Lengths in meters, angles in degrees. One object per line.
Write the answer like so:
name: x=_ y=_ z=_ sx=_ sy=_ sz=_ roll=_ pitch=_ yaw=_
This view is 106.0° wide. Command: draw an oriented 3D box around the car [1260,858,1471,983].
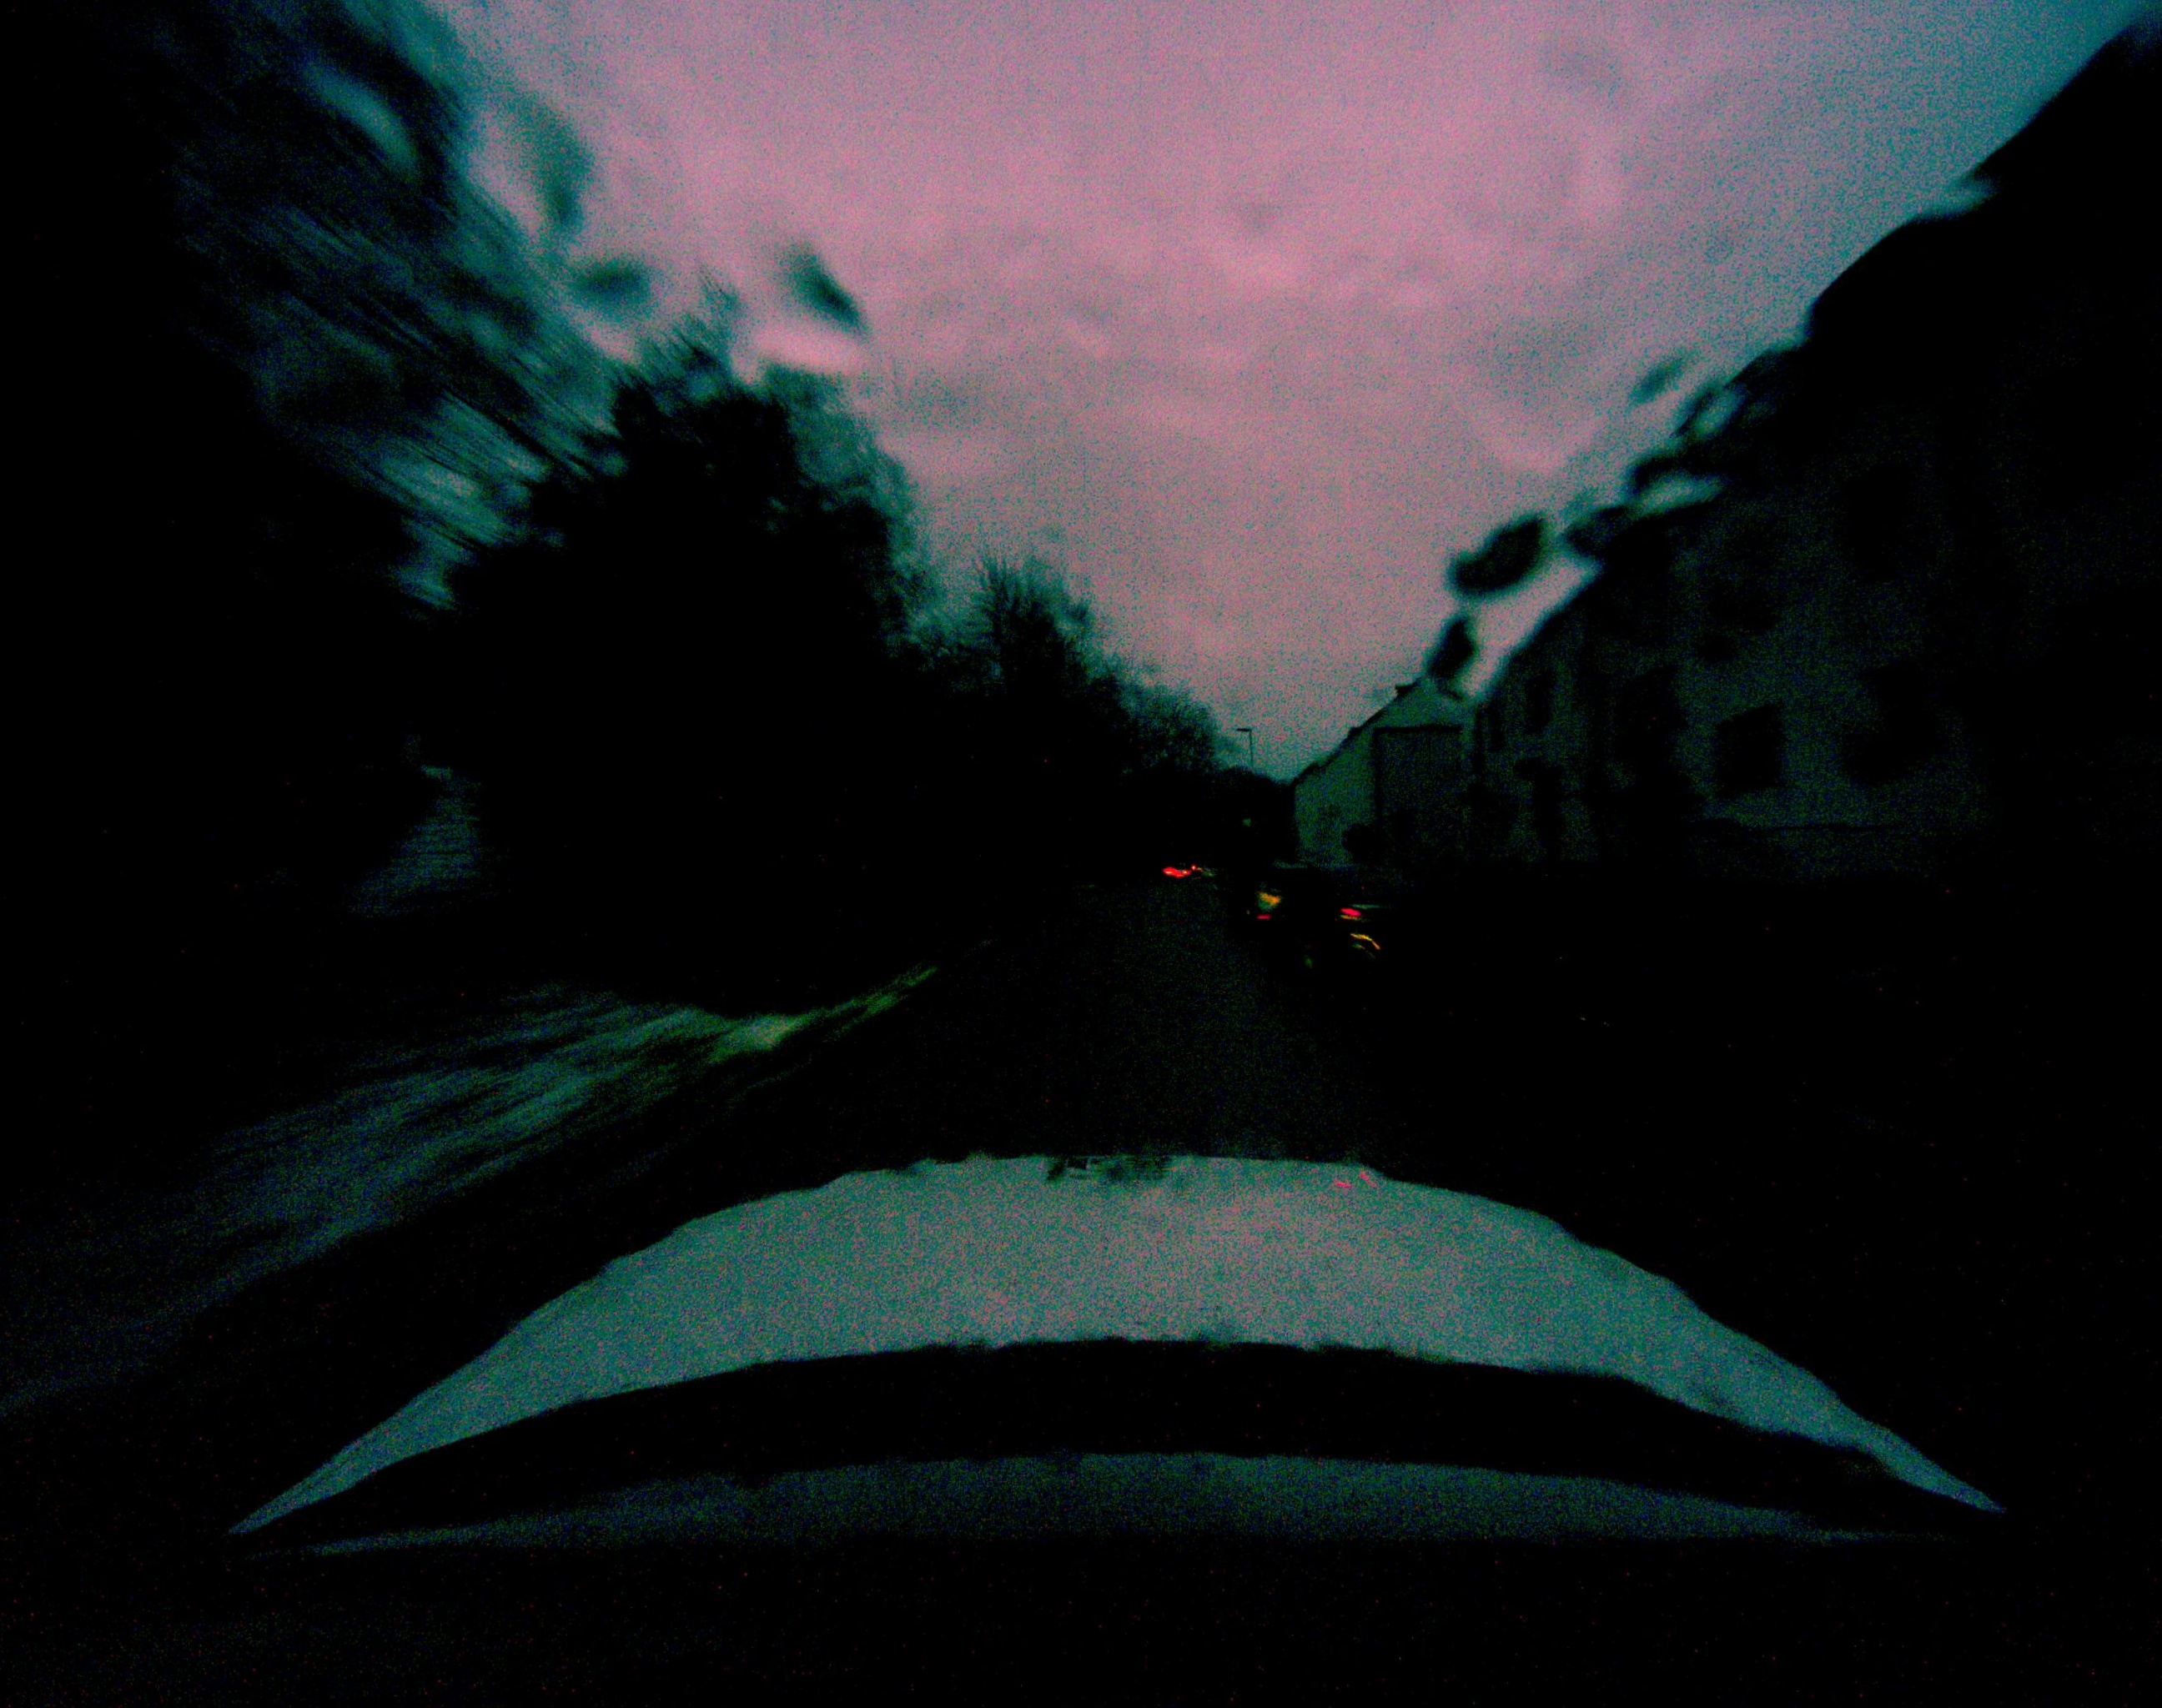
car: x=3.805 y=0.806 z=11.754 sx=1.649 sy=1.429 sz=4.567 roll=1 pitch=-1 yaw=3

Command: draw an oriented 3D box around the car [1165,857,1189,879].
car: x=8.101 y=1.159 z=68.910 sx=1.923 sy=1.781 sz=4.007 roll=-1 pitch=-1 yaw=6

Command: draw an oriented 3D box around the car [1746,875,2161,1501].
car: x=3.248 y=0.758 z=0.969 sx=1.649 sy=1.390 sz=4.125 roll=-1 pitch=-1 yaw=3

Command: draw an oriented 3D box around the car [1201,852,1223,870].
car: x=11.274 y=0.628 z=70.100 sx=1.692 sy=1.506 sz=4.037 roll=0 pitch=-1 yaw=12

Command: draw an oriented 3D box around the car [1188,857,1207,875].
car: x=11.773 y=1.162 z=82.030 sx=1.679 sy=1.775 sz=3.872 roll=-1 pitch=-1 yaw=11

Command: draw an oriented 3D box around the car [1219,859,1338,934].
car: x=4.196 y=0.851 z=17.960 sx=1.731 sy=1.429 sz=4.459 roll=1 pitch=-1 yaw=3

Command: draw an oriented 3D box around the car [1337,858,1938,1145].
car: x=3.482 y=0.770 z=6.330 sx=1.649 sy=1.390 sz=4.534 roll=-1 pitch=-1 yaw=2
